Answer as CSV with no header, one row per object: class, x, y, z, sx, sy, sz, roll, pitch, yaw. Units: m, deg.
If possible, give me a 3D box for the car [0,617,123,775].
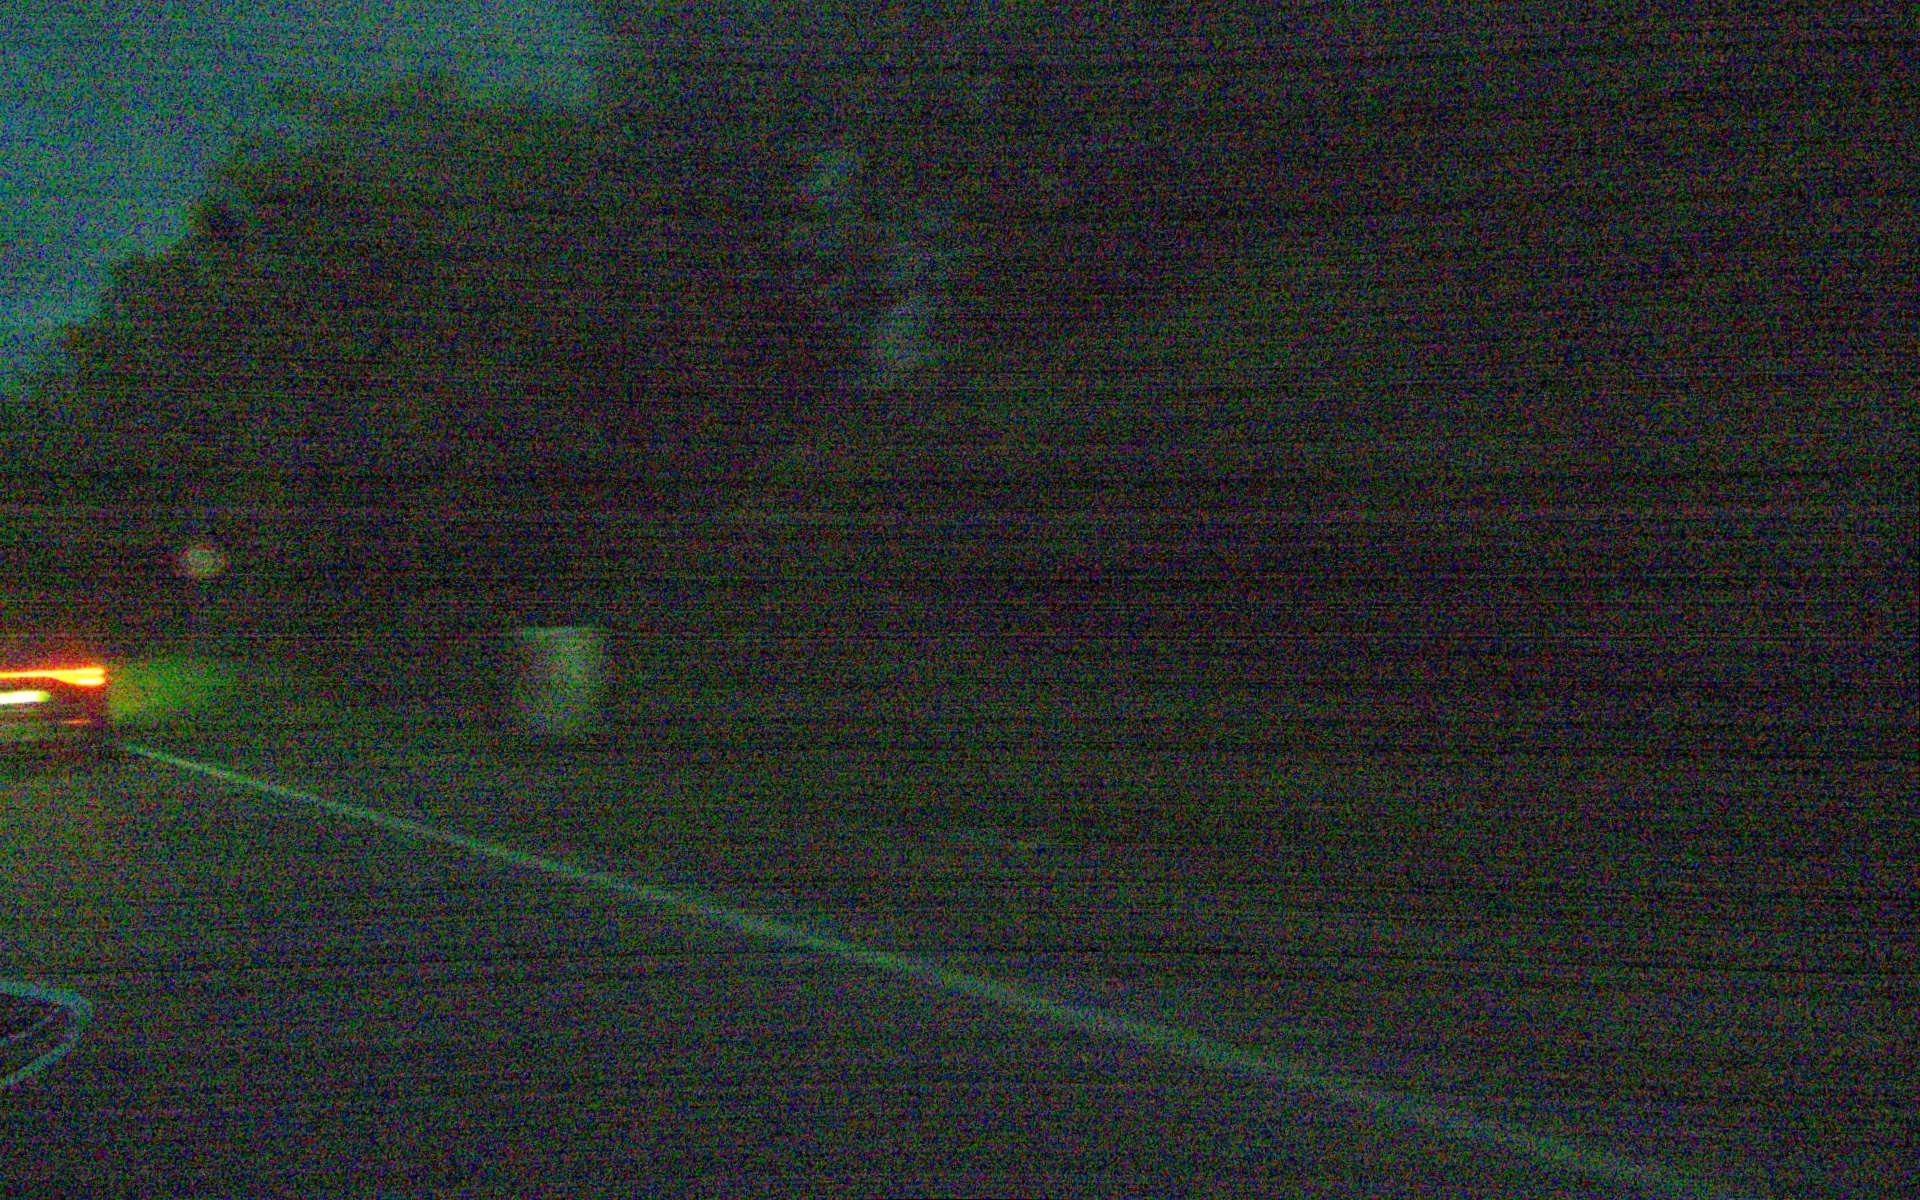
car,-11.789,1.091,12.042,4.504,1.641,1.892,-2,-1,40
